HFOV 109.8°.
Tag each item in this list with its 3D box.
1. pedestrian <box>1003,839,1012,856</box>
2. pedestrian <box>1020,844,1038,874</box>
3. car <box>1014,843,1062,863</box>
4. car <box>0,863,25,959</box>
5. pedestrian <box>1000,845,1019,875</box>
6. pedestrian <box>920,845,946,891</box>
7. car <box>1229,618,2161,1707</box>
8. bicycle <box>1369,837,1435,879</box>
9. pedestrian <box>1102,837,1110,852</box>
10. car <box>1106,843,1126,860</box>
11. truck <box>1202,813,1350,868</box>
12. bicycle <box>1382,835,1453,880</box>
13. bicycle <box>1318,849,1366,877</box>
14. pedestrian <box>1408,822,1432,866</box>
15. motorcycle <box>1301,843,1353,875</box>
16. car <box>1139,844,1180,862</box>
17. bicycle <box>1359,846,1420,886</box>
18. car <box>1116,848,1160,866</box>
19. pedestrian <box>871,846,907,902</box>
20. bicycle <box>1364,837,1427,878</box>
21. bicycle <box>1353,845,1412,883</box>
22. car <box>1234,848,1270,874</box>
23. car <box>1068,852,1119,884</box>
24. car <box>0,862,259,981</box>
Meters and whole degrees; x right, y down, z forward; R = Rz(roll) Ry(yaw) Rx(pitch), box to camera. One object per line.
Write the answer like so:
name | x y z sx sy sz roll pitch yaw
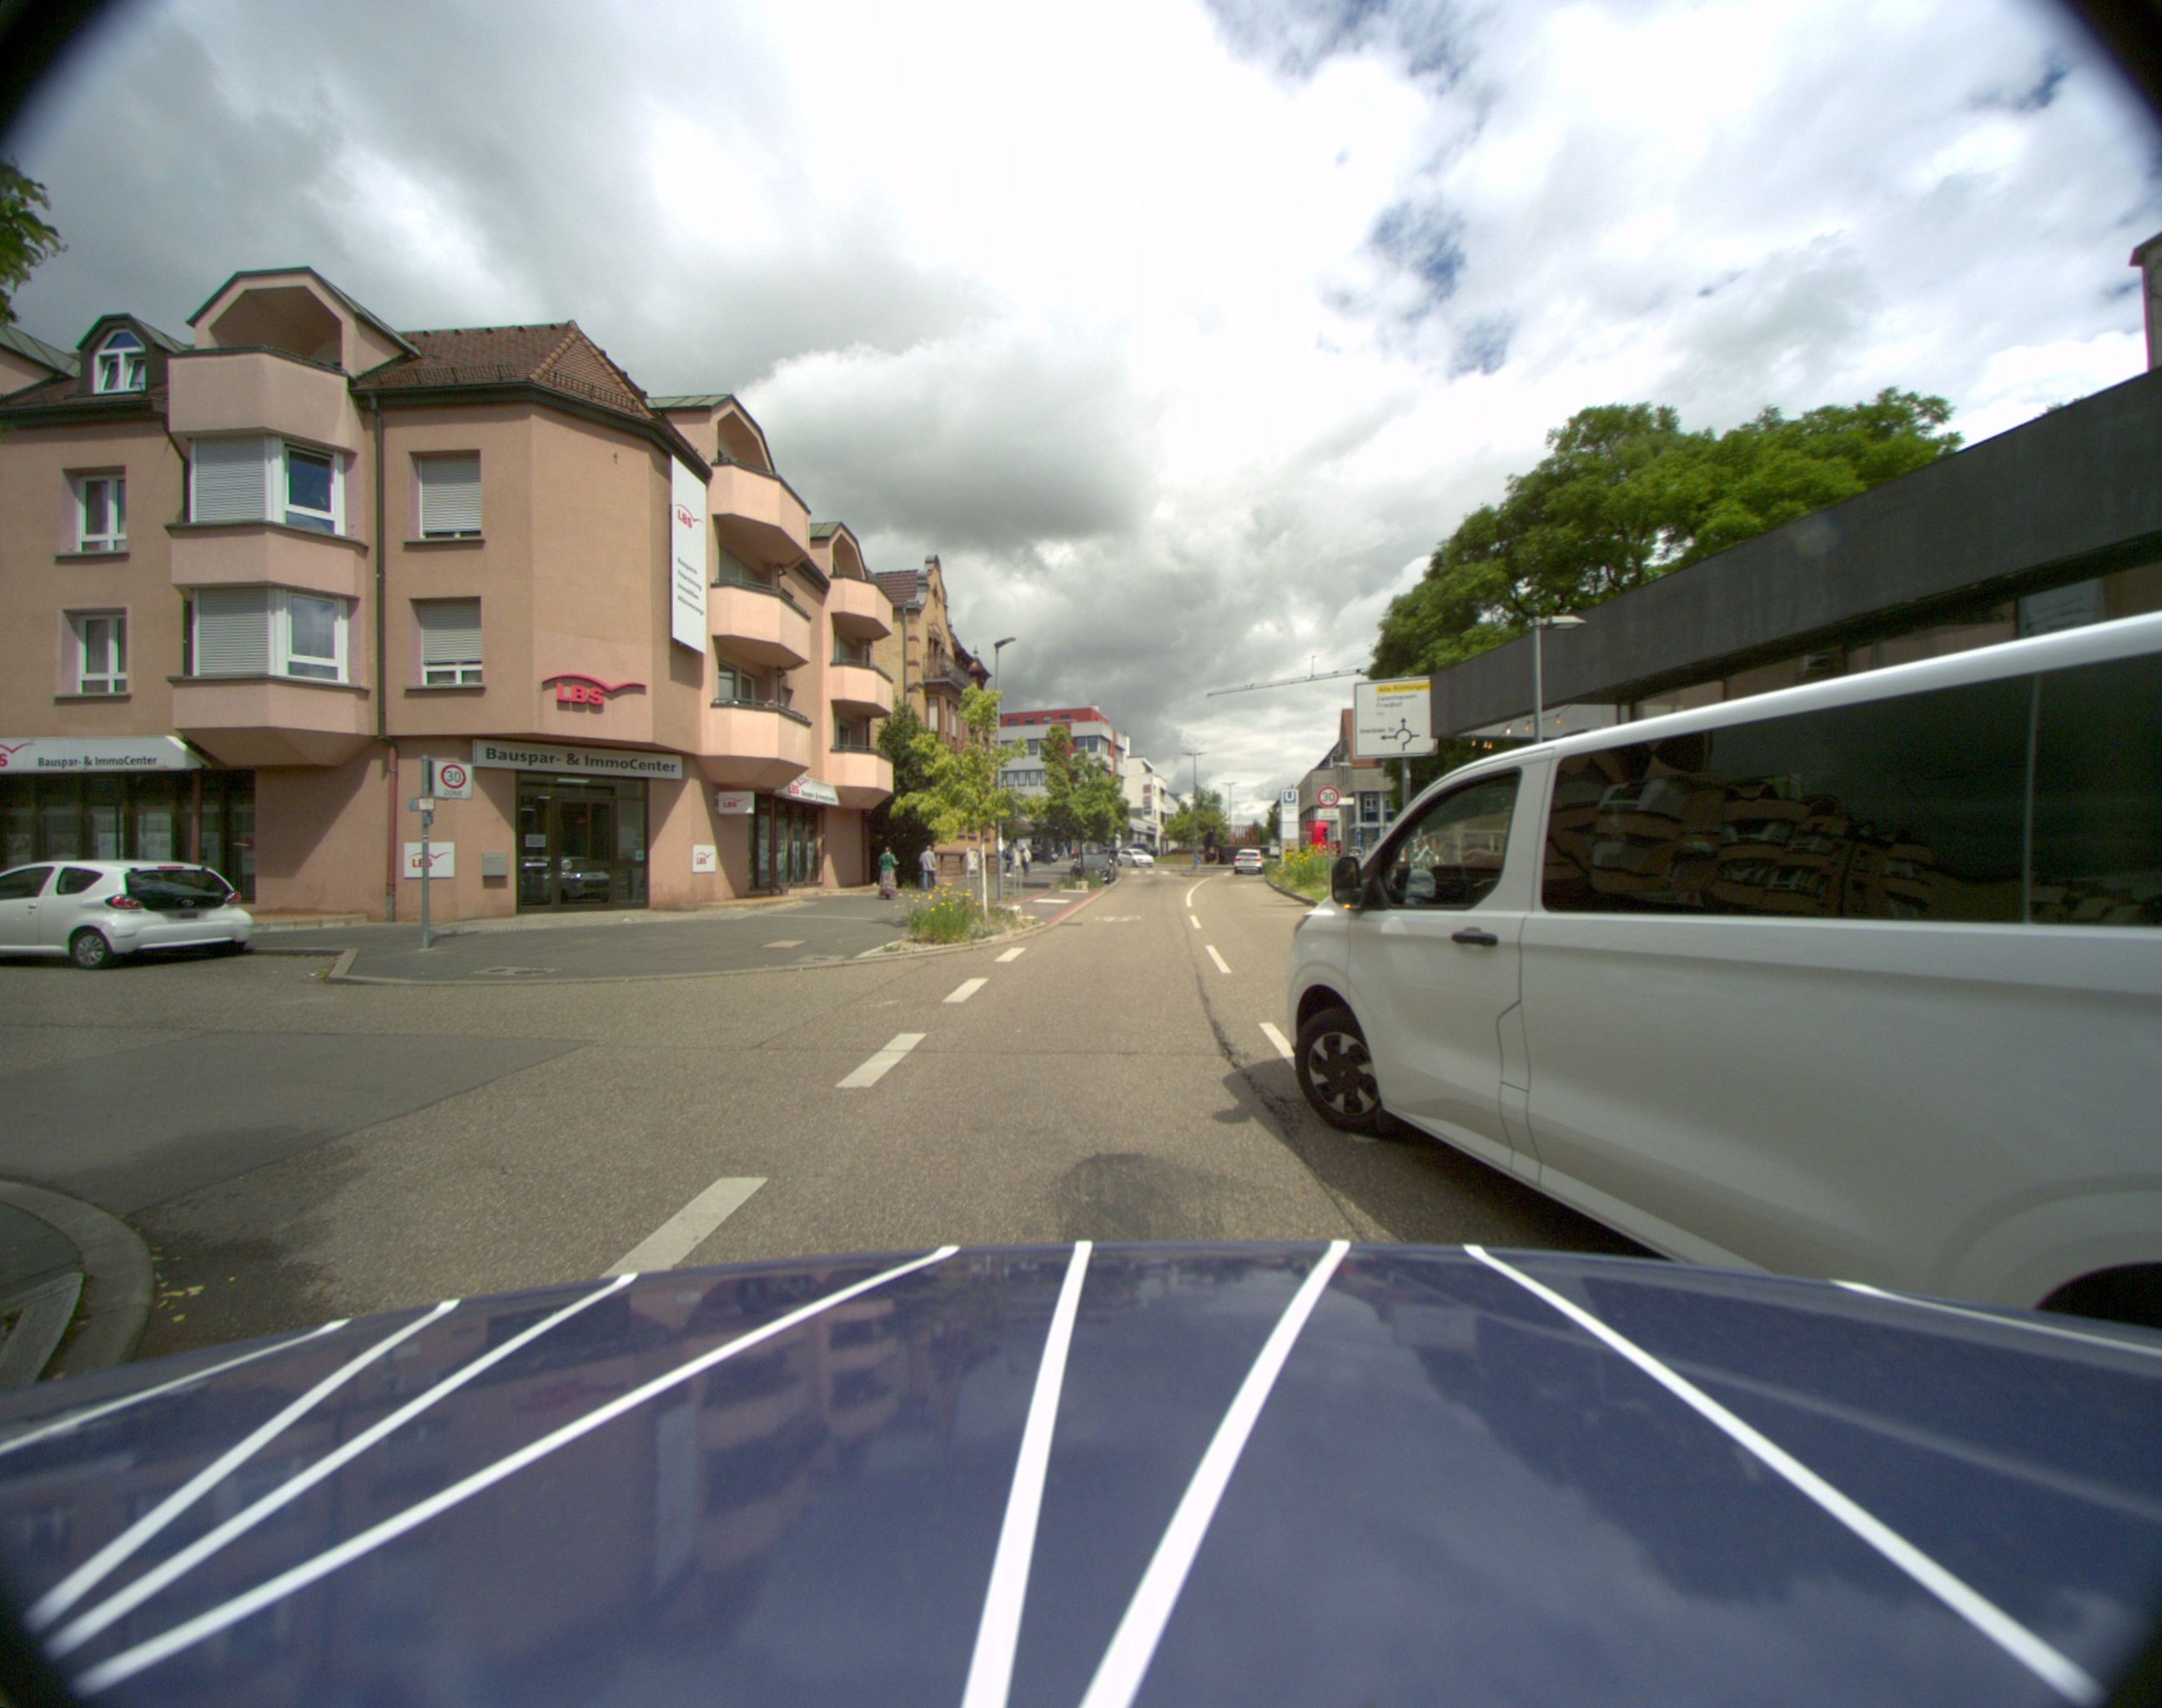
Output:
pedestrian | -8.328 -0.757 85.751 0.684 1.902 0.767 -1 2 16
pedestrian | -2.888 0.258 42.410 0.696 1.649 0.741 -1 2 18
car | -4.010 -0.101 70.506 3.993 1.641 2.002 -2 1 13
car | -18.655 0.849 11.186 4.017 1.468 1.833 1 0 5
pedestrian | -3.963 0.319 42.230 0.738 1.630 0.677 -1 2 32
pedestrian | -5.472 0.506 28.071 0.717 1.676 0.944 0 2 3
car | 2.491 0.591 2.811 2.000 2.002 5.389 -3 0 -9
bicycle | 8.613 0.110 20.414 1.549 1.121 0.534 0 1 7
pedestrian | 2.723 -1.018 83.754 0.684 1.585 0.767 -1 2 16
car | 3.406 -0.273 74.081 1.803 1.571 3.999 -2 1 2
truck | 15.098 -1.061 59.207 10.842 3.821 2.681 -2 2 -2
bicycle | 8.528 0.083 19.284 1.549 1.121 0.534 0 1 7
bicycle | 10.166 0.367 29.621 1.690 1.075 0.515 0 -1 3
pedestrian | 12.761 -0.358 28.634 0.661 1.619 0.801 -1 -1 15
motorcycle | 11.477 0.233 35.525 2.193 1.441 0.648 0 2 6
car | 7.741 -0.109 74.549 4.007 1.653 1.838 -3 2 -45
bicycle | 8.884 0.336 21.893 1.549 1.121 0.534 0 1 7
car | 4.641 0.218 62.048 1.819 1.391 4.045 -2 2 -24
pedestrian | -5.747 0.577 22.806 0.745 1.629 0.928 2 0 6
bicycle | 8.786 0.093 21.263 1.549 1.121 0.534 0 1 7
bicycle | 8.983 0.290 22.640 1.549 1.121 0.534 0 1 7
car | 11.276 0.415 49.885 1.824 1.575 4.171 1 1 19
car | 0.689 0.646 37.795 1.997 1.406 4.738 0 1 7
car | -14.235 0.880 10.816 3.388 1.468 1.719 1 0 5
